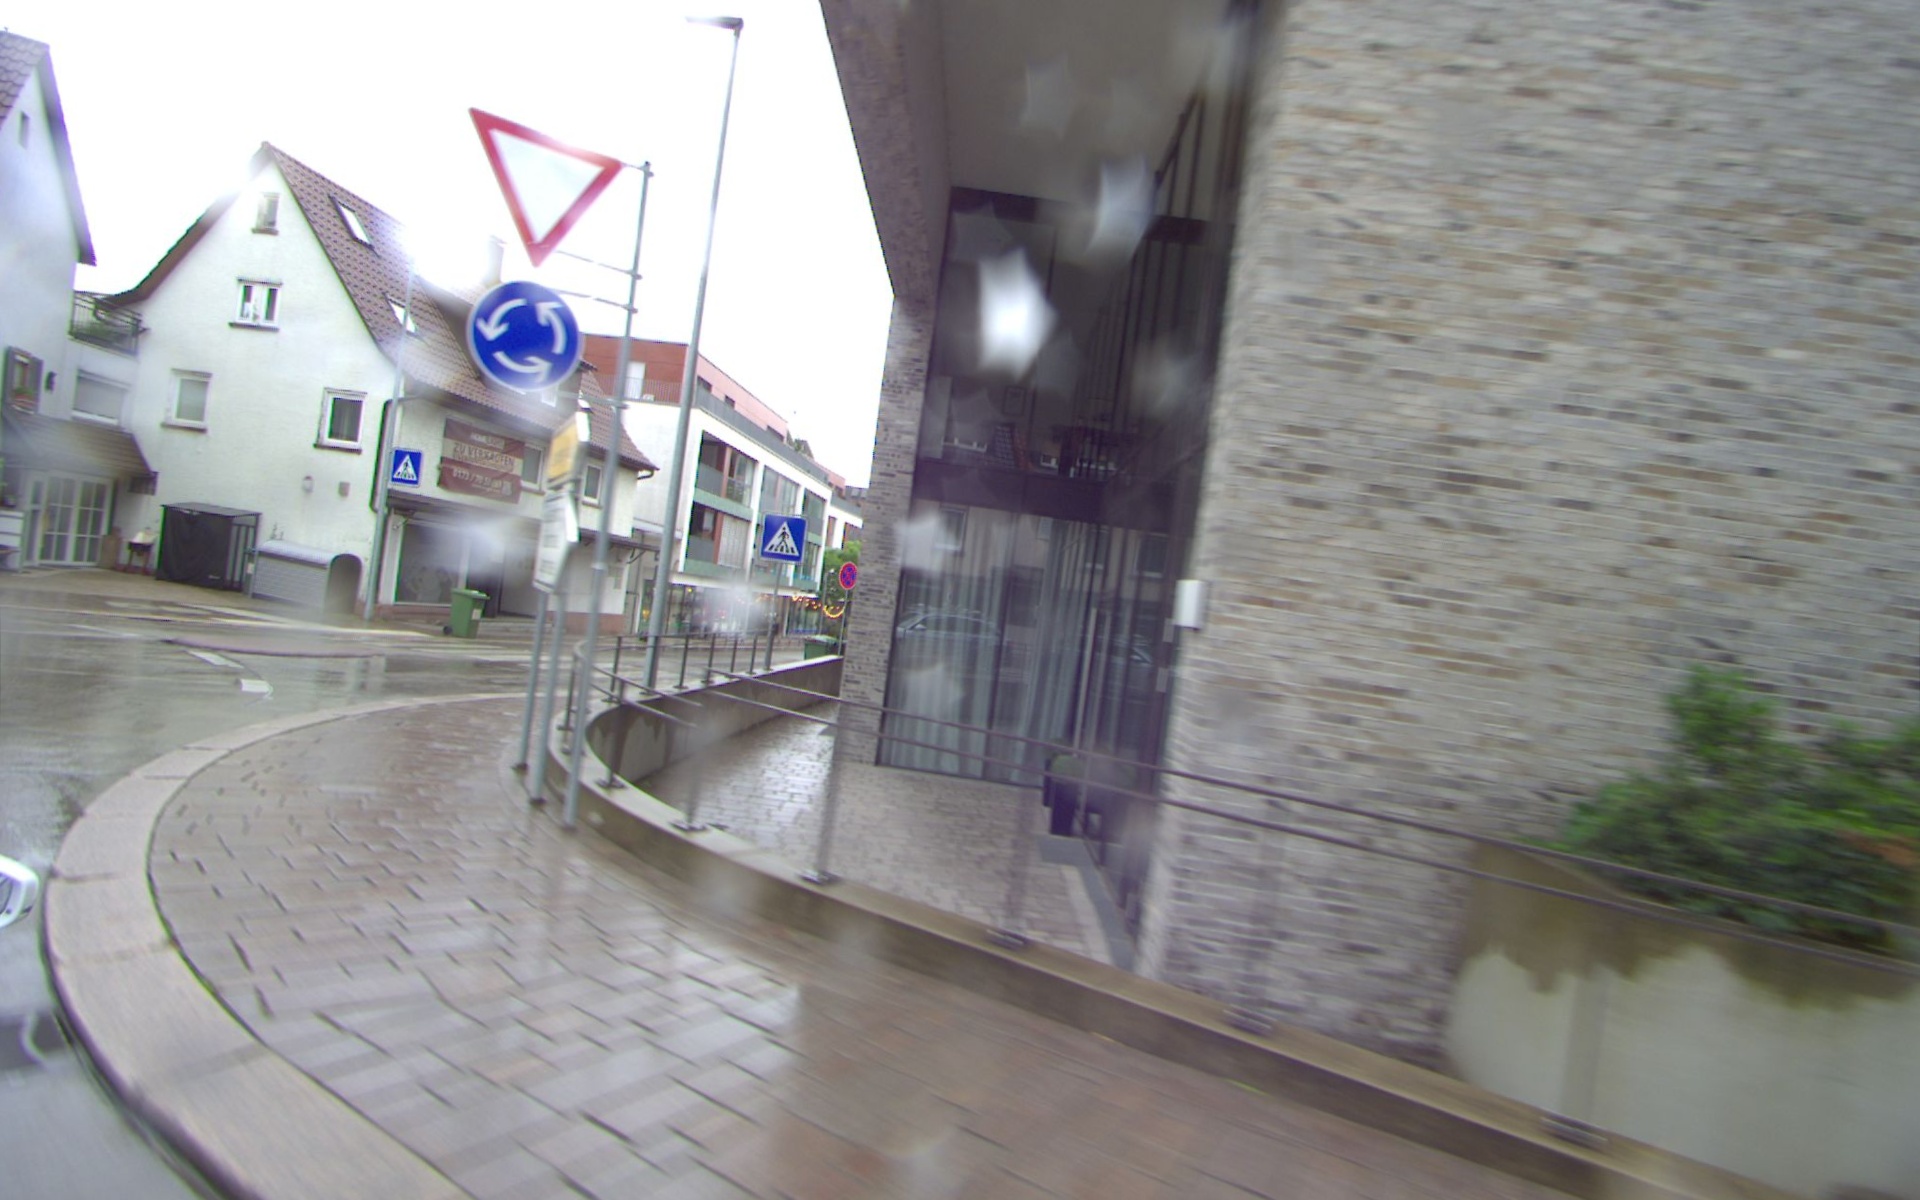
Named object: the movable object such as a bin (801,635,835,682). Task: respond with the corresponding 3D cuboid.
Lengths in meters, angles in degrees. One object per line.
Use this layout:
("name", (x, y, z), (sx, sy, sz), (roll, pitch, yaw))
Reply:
("movable object such as a bin", (-3.579, 1.468, 25.369), (0.652, 1.108, 0.551), (7, -1, 3))

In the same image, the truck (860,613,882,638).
("truck", (-8.643, 2.466, 97.578), (1.572, 2.091, 3.188), (6, 3, 2))

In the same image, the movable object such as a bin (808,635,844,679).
("movable object such as a bin", (-3.616, 1.539, 27.218), (0.754, 1.108, 0.581), (7, -1, 5))

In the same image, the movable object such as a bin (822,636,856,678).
("movable object such as a bin", (-3.496, 1.653, 29.010), (0.754, 1.108, 0.581), (7, -1, 5))

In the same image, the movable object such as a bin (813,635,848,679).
("movable object such as a bin", (-3.578, 1.565, 27.804), (0.754, 1.108, 0.581), (7, -1, 5))

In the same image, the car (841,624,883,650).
("car", (-6.866, 2.619, 71.086), (1.758, 1.516, 4.460), (7, -2, 9))

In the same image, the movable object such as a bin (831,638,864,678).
("movable object such as a bin", (-3.382, 1.730, 30.219), (0.754, 1.108, 0.581), (7, -1, 5))

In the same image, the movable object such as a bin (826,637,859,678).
("movable object such as a bin", (-3.455, 1.685, 29.603), (0.754, 1.108, 0.581), (7, -1, 5))

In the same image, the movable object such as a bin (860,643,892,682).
("movable object such as a bin", (-2.571, 1.905, 30.834), (0.754, 1.108, 0.627), (7, -1, 5))

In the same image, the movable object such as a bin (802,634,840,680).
("movable object such as a bin", (-3.671, 1.514, 26.617), (0.754, 1.108, 0.581), (7, -1, 5))

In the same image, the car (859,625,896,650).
("car", (-6.274, 2.868, 76.865), (1.758, 1.594, 4.112), (7, -2, 9))

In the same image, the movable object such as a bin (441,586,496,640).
("movable object such as a bin", (-11.265, 0.307, 23.066), (0.677, 1.093, 0.762), (10, -2, 3))
